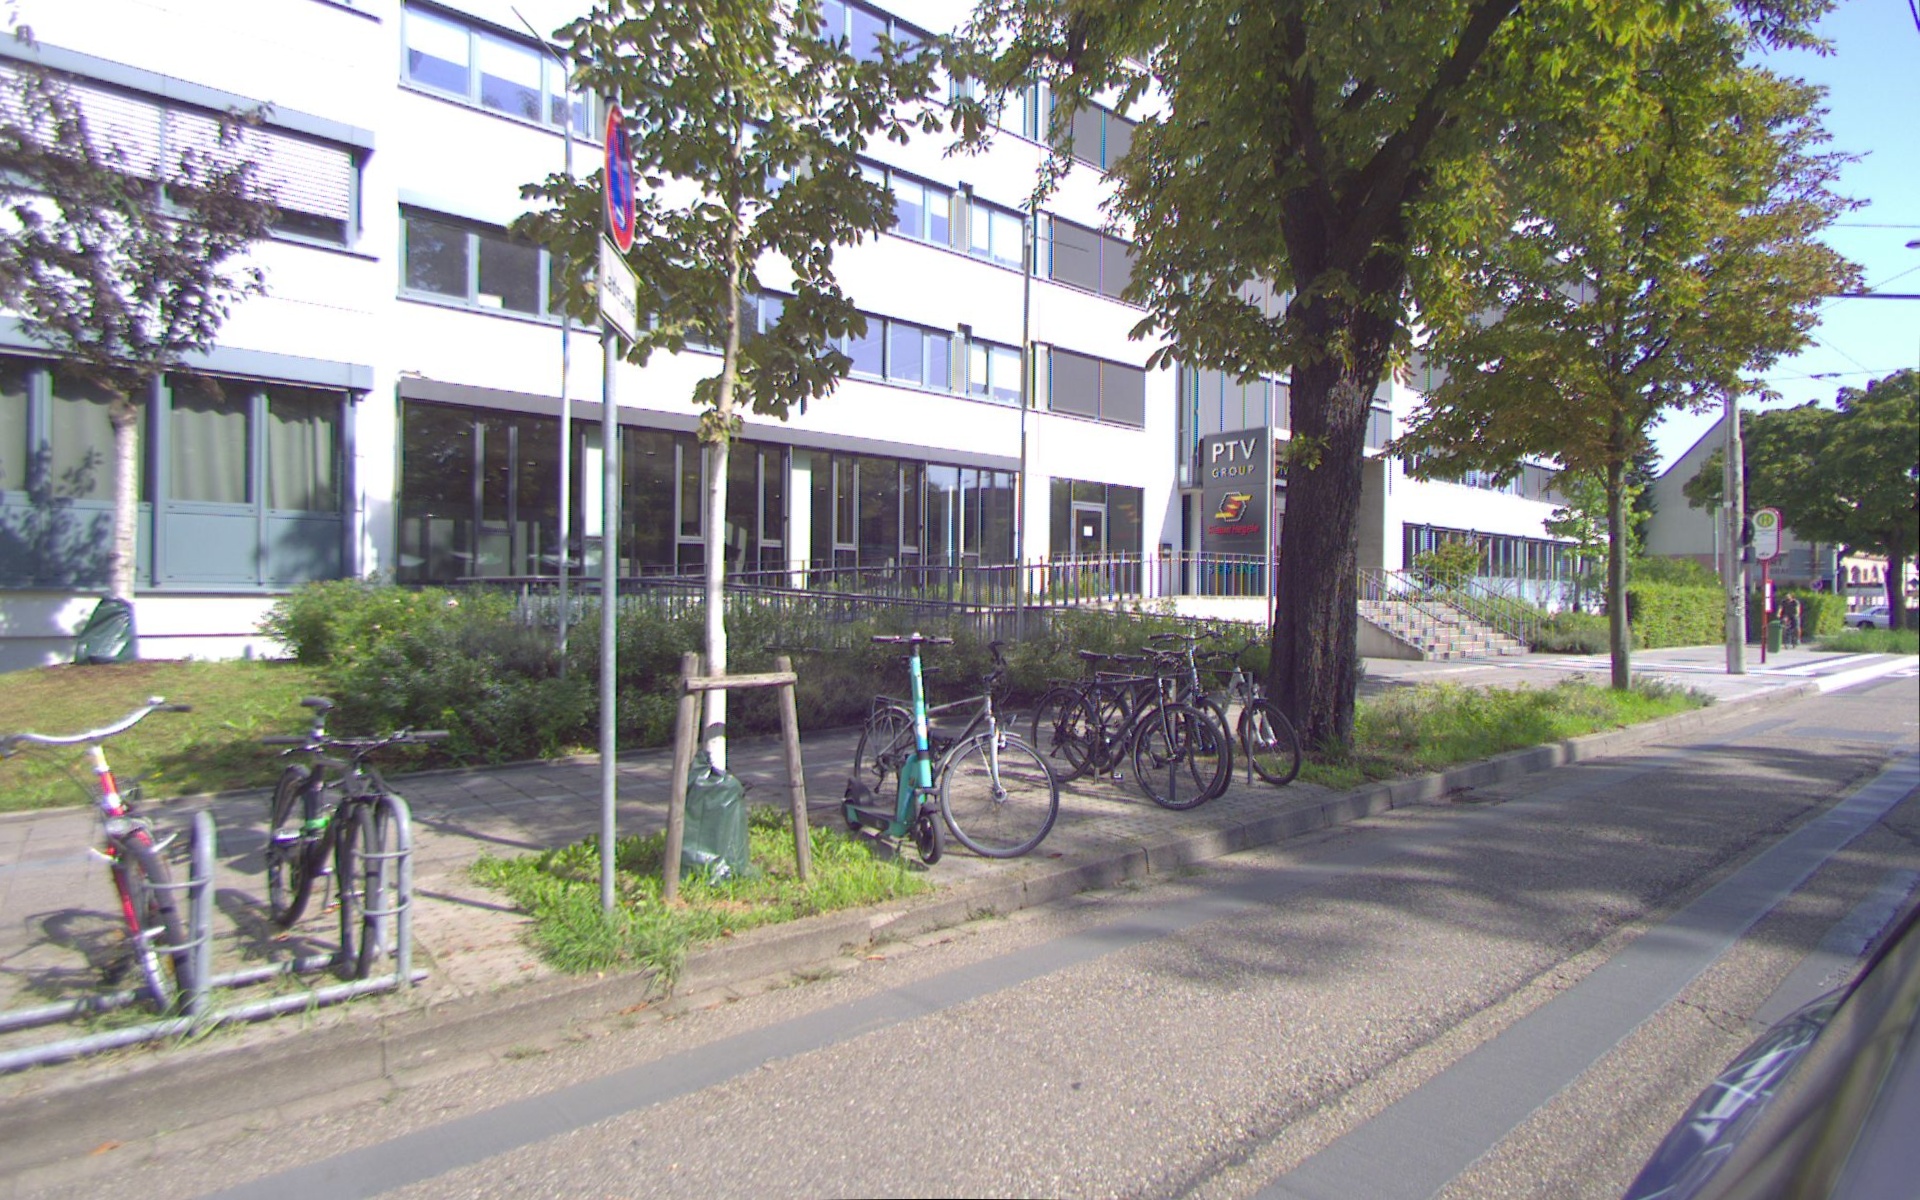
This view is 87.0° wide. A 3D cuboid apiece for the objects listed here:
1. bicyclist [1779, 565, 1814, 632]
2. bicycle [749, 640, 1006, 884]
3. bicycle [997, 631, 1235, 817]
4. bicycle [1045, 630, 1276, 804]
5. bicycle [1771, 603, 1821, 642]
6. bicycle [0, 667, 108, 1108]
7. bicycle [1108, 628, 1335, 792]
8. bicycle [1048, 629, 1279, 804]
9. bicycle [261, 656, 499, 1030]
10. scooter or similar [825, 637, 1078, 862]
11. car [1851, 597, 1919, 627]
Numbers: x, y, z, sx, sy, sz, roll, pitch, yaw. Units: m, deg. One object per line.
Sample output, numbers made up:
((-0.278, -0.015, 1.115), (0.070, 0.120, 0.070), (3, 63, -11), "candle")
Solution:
((25.930, -0.047, 31.367), (0.780, 2.039, 1.255), (0, 0, 42), "bicyclist")
((-0.541, 0.833, 5.843), (0.531, 1.085, 1.774), (0, 1, -40), "bicycle")
((1.068, 0.821, 7.320), (0.531, 1.085, 1.774), (0, 1, -40), "bicycle")
((1.473, 0.817, 7.722), (0.531, 1.085, 1.774), (0, 1, -40), "bicycle")
((26.005, 0.682, 31.457), (1.134, 1.139, 2.498), (0, 0, 41), "bicycle")
((-3.278, 0.852, 3.473), (0.531, 1.085, 1.774), (0, 1, -40), "bicycle")
((2.046, 0.814, 8.136), (0.531, 1.085, 1.774), (0, 1, -40), "bicycle")
((1.496, 0.817, 7.728), (0.531, 1.085, 1.774), (0, 1, -40), "bicycle")
((-2.455, 0.847, 4.176), (0.531, 1.085, 1.774), (0, 1, -40), "bicycle")
((-0.115, 0.830, 6.233), (0.531, 1.085, 1.774), (0, 1, -40), "scooter or similar")
((48.570, 0.598, 51.662), (1.929, 1.534, 4.541), (0, 0, -44), "car")
